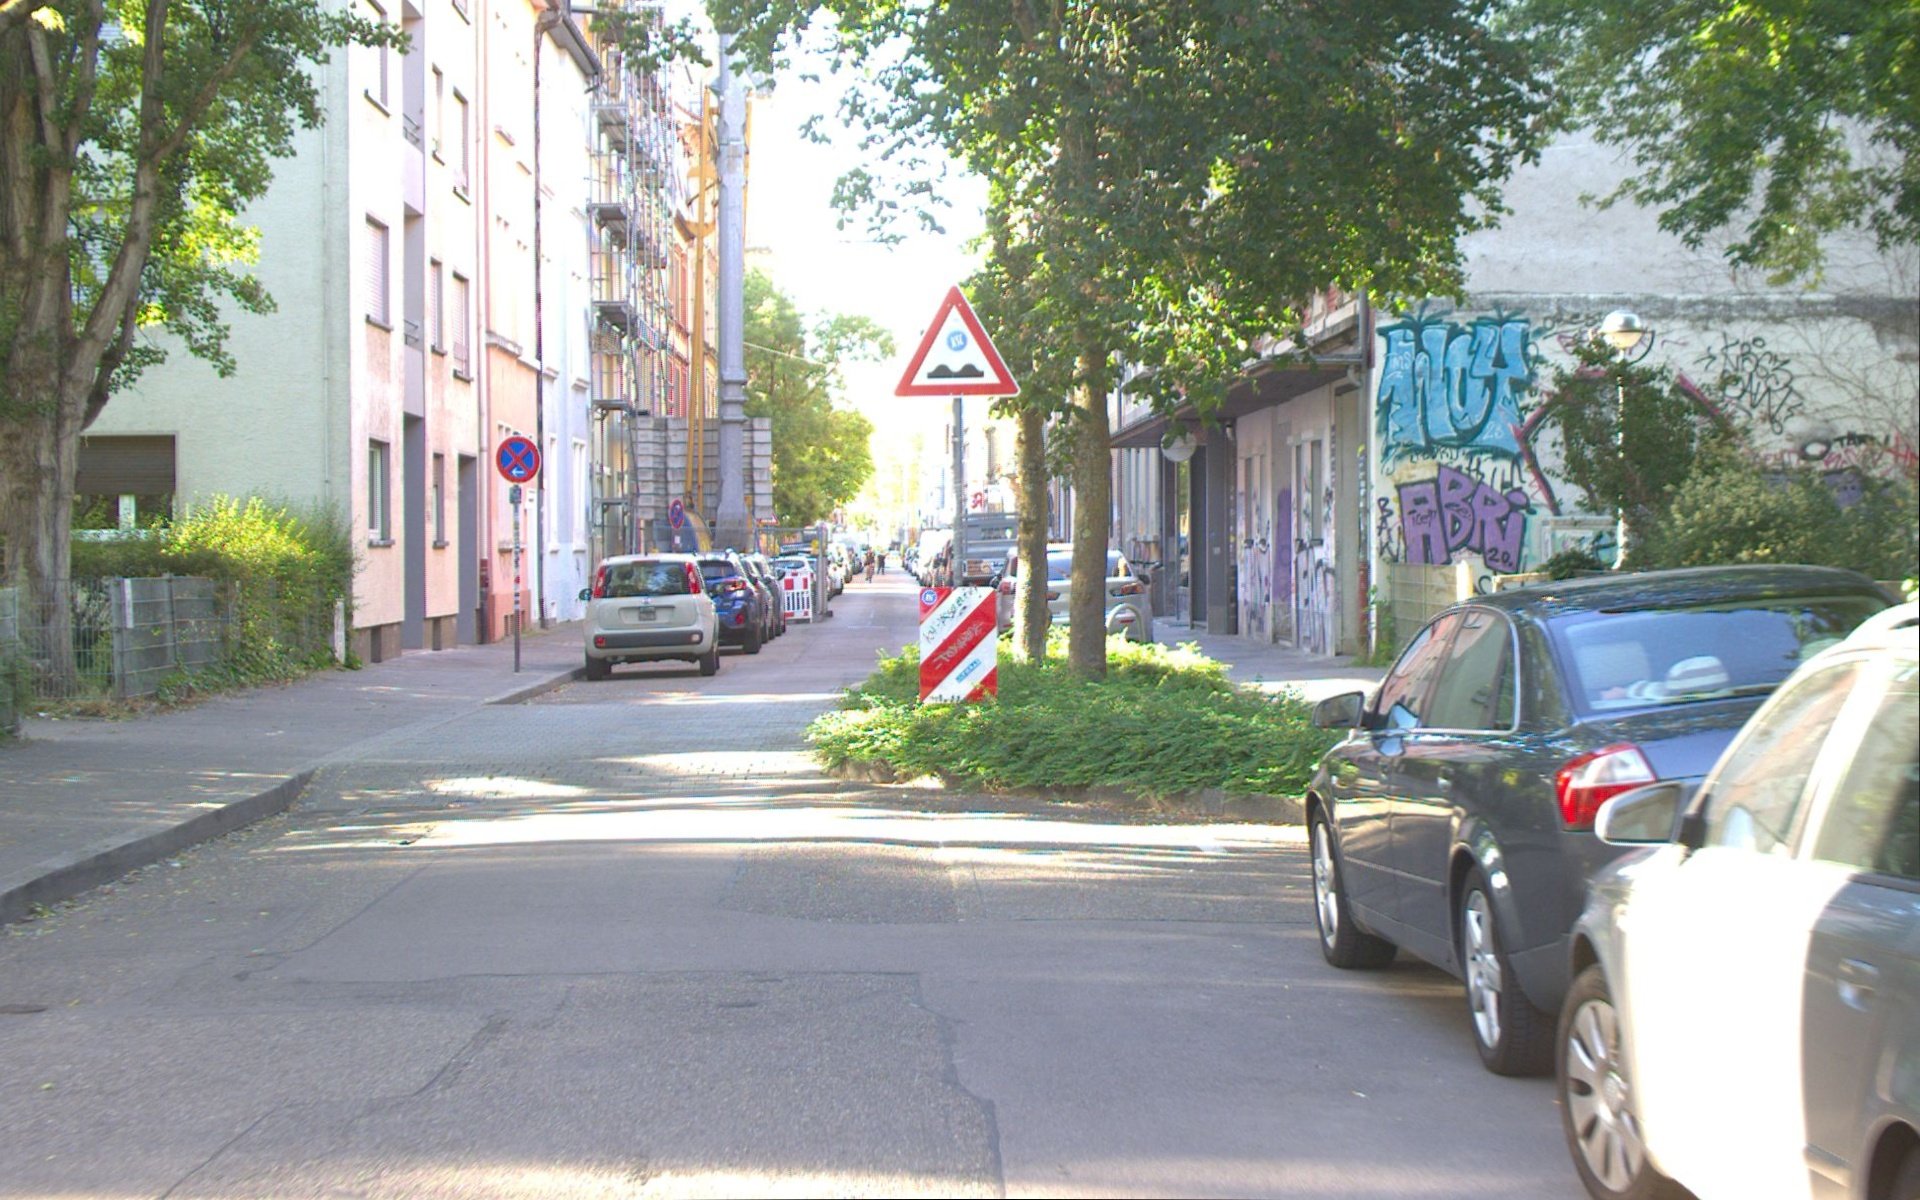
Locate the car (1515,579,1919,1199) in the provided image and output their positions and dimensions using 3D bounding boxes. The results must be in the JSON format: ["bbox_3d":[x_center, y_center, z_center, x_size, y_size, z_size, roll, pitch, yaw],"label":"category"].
[{"bbox_3d":[2.242,0.726,6.353,1.659,1.488,4.354,-1,1,-1],"label":"car"}]

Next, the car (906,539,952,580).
[{"bbox_3d":[-1.452,-1.897,160.210,1.993,1.842,4.000,-1,1,-2],"label":"car"}]

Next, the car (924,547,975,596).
[{"bbox_3d":[-0.453,-1.208,145.766,1.993,2.007,4.001,-1,1,-2],"label":"car"}]

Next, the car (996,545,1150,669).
[{"bbox_3d":[1.455,0.063,45.656,1.721,1.557,4.399,0,1,-2],"label":"car"}]

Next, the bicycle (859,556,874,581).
[{"bbox_3d":[-4.644,-1.560,170.718,0.724,1.182,2.043,1,2,-1],"label":"bicycle"}]

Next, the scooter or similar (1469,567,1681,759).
[{"bbox_3d":[4.201,0.417,23.556,0.544,1.257,1.473,-2,1,-32],"label":"scooter or similar"}]

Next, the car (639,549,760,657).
[{"bbox_3d":[-3.956,0.020,52.790,1.729,1.534,4.378,-2,1,-3],"label":"car"}]

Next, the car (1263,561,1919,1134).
[{"bbox_3d":[2.205,0.641,11.494,1.720,1.488,4.414,-1,1,-3],"label":"car"}]

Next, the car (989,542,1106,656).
[{"bbox_3d":[1.294,-0.035,51.960,1.640,1.650,3.869,0,1,0],"label":"car"}]

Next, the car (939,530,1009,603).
[{"bbox_3d":[0.366,-0.927,95.352,1.674,1.956,4.109,-1,1,-3],"label":"car"}]

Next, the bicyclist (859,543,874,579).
[{"bbox_3d":[-4.636,-1.929,170.716,0.730,1.755,0.835,0,1,-1],"label":"bicyclist"}]

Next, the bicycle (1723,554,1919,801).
[{"bbox_3d":[5.041,0.393,19.493,0.847,1.263,2.692,-1,1,1],"label":"bicycle"}]

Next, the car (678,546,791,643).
[{"bbox_3d":[-3.762,-0.124,57.903,1.675,1.506,4.415,-2,1,-1],"label":"car"}]

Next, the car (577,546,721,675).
[{"bbox_3d":[-3.939,0.104,43.961,1.674,1.534,3.870,-1,1,-3],"label":"car"}]

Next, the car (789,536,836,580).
[{"bbox_3d":[-6.417,-1.820,149.525,1.993,1.842,4.000,-1,1,-2],"label":"car"}]

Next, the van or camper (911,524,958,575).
[{"bbox_3d":[-1.313,-2.553,174.367,1.993,2.500,4.203,-1,1,-5],"label":"van or camper"}]

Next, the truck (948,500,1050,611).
[{"bbox_3d":[0.926,-1.103,84.852,2.189,2.598,5.235,-1,1,-2],"label":"truck"}]

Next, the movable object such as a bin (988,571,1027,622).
[{"bbox_3d":[0.991,-0.082,72.603,0.795,1.052,0.660,0,1,-1],"label":"movable object such as a bin"}]
